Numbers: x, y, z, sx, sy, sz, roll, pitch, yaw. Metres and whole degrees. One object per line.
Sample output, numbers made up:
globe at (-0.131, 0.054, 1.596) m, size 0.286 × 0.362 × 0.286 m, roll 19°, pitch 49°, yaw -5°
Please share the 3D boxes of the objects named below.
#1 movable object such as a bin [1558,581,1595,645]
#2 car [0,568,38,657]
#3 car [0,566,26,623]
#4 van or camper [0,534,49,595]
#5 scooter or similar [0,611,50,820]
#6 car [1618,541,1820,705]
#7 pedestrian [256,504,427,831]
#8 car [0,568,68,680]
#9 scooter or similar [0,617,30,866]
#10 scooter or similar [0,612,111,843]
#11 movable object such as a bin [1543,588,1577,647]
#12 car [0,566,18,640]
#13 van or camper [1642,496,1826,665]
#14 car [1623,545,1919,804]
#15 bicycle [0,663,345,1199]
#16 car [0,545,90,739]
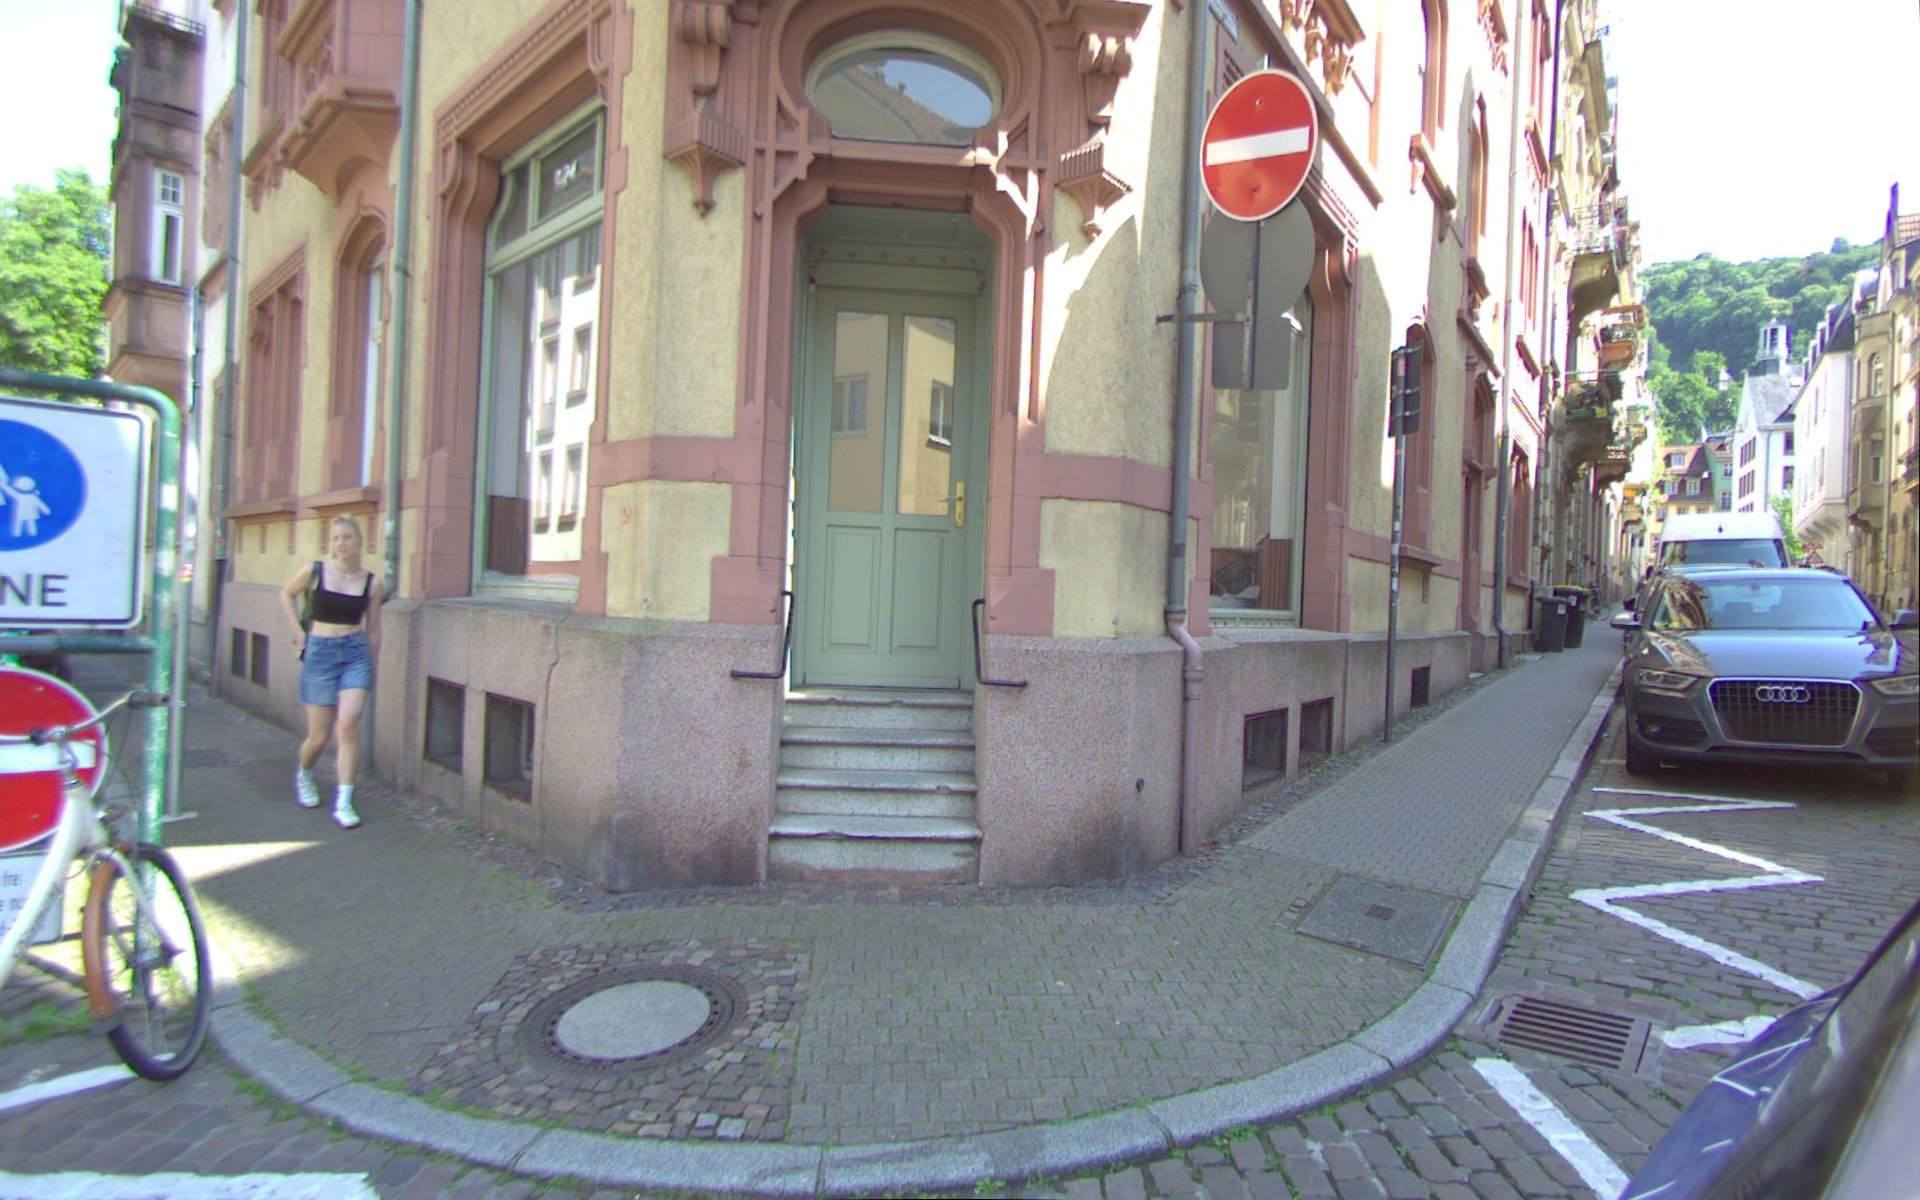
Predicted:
movable object such as a bin at (10.915, 0.229, 17.925) m, size 0.514 × 1.103 × 0.416 m, roll 1°, pitch 0°, yaw 37°
car at (-16.775, 0.156, 17.106) m, size 1.683 × 1.413 × 3.327 m, roll 1°, pitch 1°, yaw -44°
car at (-25.461, -0.179, 26.299) m, size 1.683 × 1.413 × 3.327 m, roll 1°, pitch 1°, yaw -44°
van or camper at (-38.830, -1.452, 41.400) m, size 2.149 × 2.350 × 5.349 m, roll 1°, pitch 1°, yaw -43°
scooter or similar at (-5.961, 0.687, 5.712) m, size 0.338 × 1.224 × 1.182 m, roll 2°, pitch 0°, yaw 20°
car at (9.513, 0.210, 12.820) m, size 1.751 × 1.727 × 3.949 m, roll -1°, pitch 1°, yaw 36°
pedestrian at (-3.720, 0.349, 6.072) m, size 0.613 × 1.780 × 0.978 m, roll -3°, pitch 3°, yaw -45°
car at (-13.221, 0.278, 13.611) m, size 1.684 × 1.375 × 3.327 m, roll -3°, pitch 3°, yaw -44°
scooter or similar at (-4.894, 0.703, 4.532) m, size 0.336 × 1.224 × 1.191 m, roll 2°, pitch 0°, yaw -1°
scooter or similar at (-5.370, 0.685, 5.388) m, size 0.409 × 1.224 × 1.223 m, roll 2°, pitch 0°, yaw 26°
movable object such as a bin at (10.106, 0.287, 17.045) m, size 0.437 × 0.969 × 0.345 m, roll 1°, pitch 0°, yaw 37°
car at (-19.908, 0.020, 20.118) m, size 1.683 × 1.413 × 3.327 m, roll 1°, pitch 1°, yaw -44°
van or camper at (13.978, -0.436, 18.611) m, size 2.213 × 2.551 × 6.684 m, roll 2°, pitch 3°, yaw 35°
car at (6.629, 0.421, 8.350) m, size 1.850 × 1.603 × 4.208 m, roll 0°, pitch 1°, yaw 35°
bicycle at (-2.459, 0.819, 2.546) m, size 0.497 × 1.160 × 1.789 m, roll 2°, pitch 1°, yaw 9°
car at (-9.937, 0.305, 9.756) m, size 3.987 × 1.663 × 1.968 m, roll 2°, pitch 1°, yaw 44°
